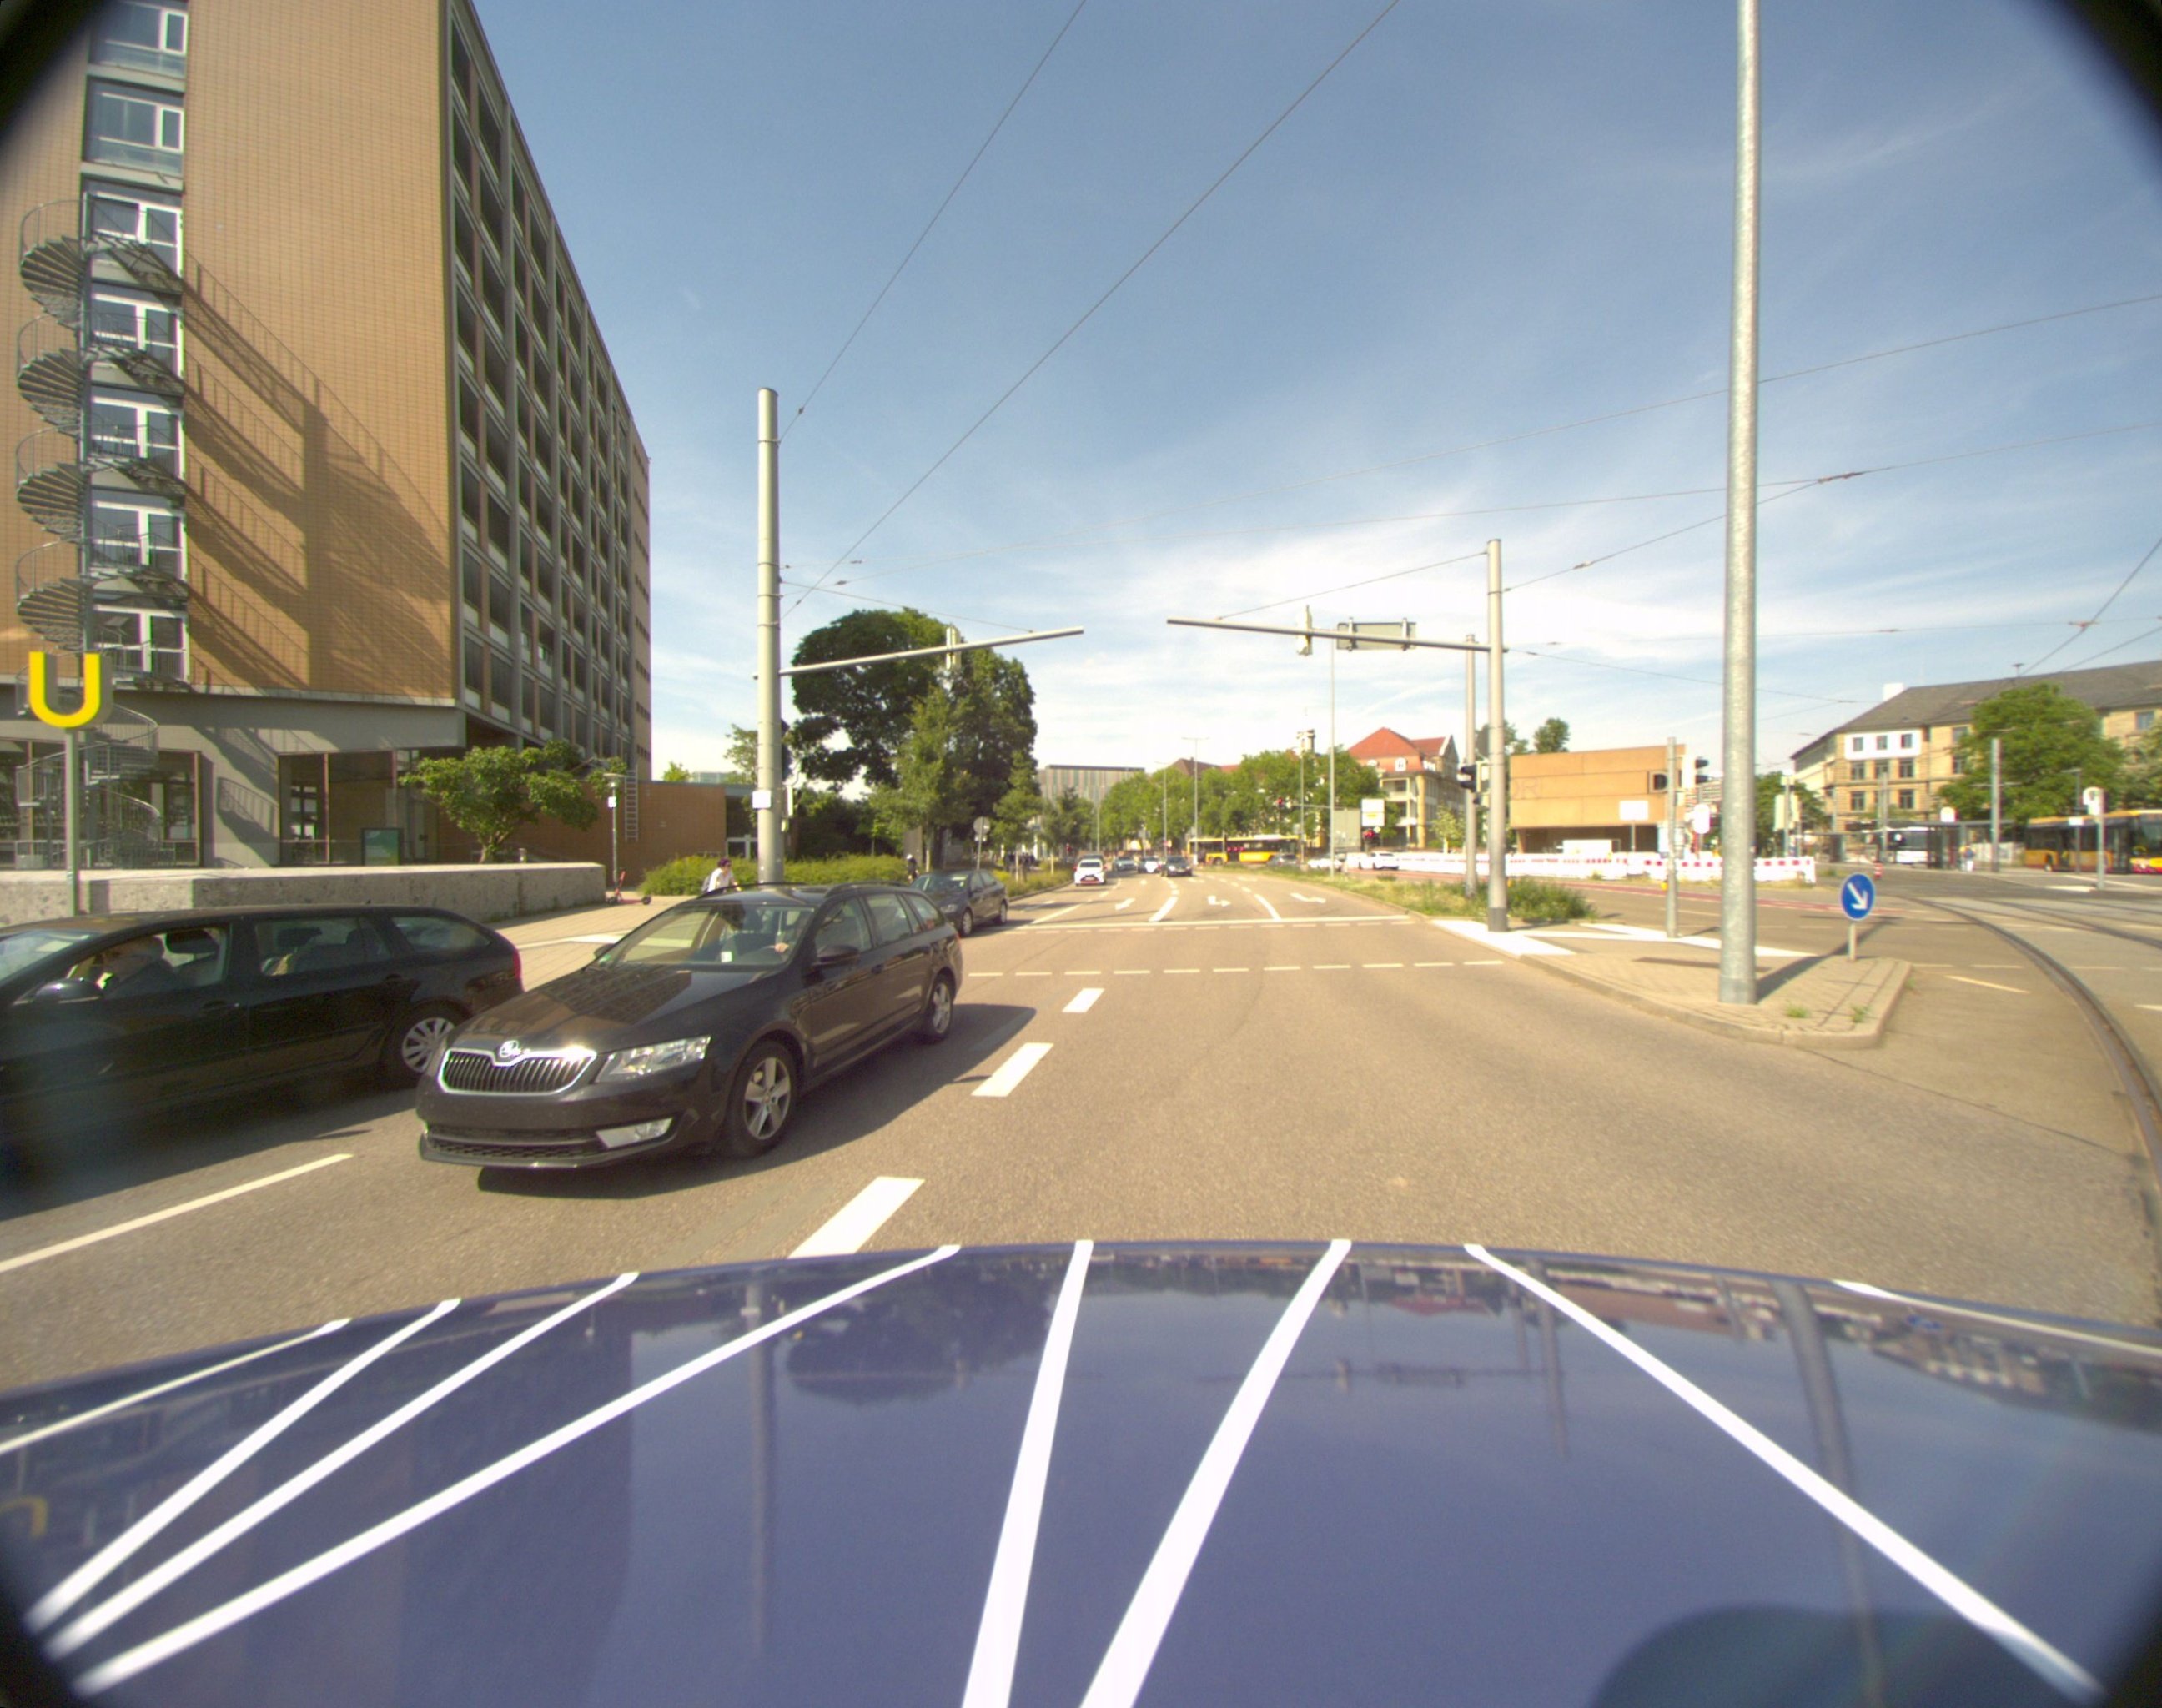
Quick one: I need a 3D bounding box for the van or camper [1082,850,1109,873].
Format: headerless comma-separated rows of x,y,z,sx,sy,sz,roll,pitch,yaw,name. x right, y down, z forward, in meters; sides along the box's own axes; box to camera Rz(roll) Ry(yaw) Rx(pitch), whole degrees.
1.246,0.624,66.685,1.730,1.877,4.919,-3,1,-6,van or camper

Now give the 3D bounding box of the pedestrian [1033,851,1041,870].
-3.976,0.596,68.878,0.643,1.664,0.752,1,2,7,pedestrian

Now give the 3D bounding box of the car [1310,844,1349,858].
29.233,-0.383,89.408,4.115,1.435,1.757,-3,1,-15,car

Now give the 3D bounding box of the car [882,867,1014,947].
-2.902,1.117,17.639,1.634,1.427,4.531,-2,1,8,car

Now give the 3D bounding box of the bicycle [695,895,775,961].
-6.596,1.367,14.421,1.913,1.009,0.718,3,2,43,bicycle

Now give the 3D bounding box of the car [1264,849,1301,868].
15.269,0.325,57.751,1.598,1.279,3.999,-3,1,-1,car

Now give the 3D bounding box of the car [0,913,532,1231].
-6.100,1.219,4.675,1.703,1.421,4.403,-2,-2,11,car

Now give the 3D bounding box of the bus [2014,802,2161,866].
49.543,-1.086,36.780,2.751,2.667,11.810,-2,1,37,bus

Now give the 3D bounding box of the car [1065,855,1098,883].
0.053,0.834,43.533,1.681,1.466,3.760,-1,0,3,car

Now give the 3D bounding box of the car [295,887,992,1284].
-2.280,1.080,5.674,1.633,1.427,4.784,-1,0,13,car

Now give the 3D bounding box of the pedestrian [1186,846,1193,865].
9.562,0.114,66.843,0.541,1.664,0.753,-1,1,10,pedestrian

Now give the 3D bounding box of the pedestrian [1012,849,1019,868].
-5.987,0.405,69.465,0.644,1.754,0.474,0,2,-11,pedestrian

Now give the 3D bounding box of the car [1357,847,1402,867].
22.922,0.203,58.445,1.802,1.412,3.999,-3,1,-1,car

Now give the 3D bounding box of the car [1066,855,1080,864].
-1.167,0.781,110.236,1.491,1.286,3.483,-3,1,-9,car

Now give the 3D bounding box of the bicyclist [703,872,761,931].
-6.639,0.888,14.449,0.913,1.023,0.718,3,3,43,bicyclist

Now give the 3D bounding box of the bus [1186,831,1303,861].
17.669,-0.785,82.596,12.120,3.021,2.801,-1,0,22,bus

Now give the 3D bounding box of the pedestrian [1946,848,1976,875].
45.214,0.367,39.056,0.538,1.359,0.912,-3,1,10,pedestrian

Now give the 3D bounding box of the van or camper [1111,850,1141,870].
4.366,0.524,75.066,1.921,1.877,4.918,-1,0,-9,van or camper

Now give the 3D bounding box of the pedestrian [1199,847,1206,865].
10.784,0.178,67.533,0.643,1.664,0.753,0,1,9,pedestrian

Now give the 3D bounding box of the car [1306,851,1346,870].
18.307,0.450,56.897,1.598,1.279,3.999,-3,1,-1,car

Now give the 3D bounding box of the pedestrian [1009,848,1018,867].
-5.996,0.318,67.717,0.643,1.617,0.732,1,2,10,pedestrian

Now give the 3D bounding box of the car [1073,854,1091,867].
0.080,0.659,79.446,1.491,1.286,3.483,-1,0,-7,car

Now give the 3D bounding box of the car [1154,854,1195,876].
6.430,0.738,52.767,1.651,1.416,4.116,-3,1,-9,car

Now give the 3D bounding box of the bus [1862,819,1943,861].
71.084,-1.182,66.012,2.750,3.303,11.813,0,1,37,bus

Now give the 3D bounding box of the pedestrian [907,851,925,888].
-7.567,0.701,34.835,0.592,1.655,0.732,1,2,10,pedestrian

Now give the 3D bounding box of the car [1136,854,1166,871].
5.748,0.686,62.603,1.491,1.286,3.483,-3,1,-10,car

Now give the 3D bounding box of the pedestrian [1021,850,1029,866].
-5.139,0.374,69.660,0.644,1.438,0.568,0,2,-11,pedestrian
